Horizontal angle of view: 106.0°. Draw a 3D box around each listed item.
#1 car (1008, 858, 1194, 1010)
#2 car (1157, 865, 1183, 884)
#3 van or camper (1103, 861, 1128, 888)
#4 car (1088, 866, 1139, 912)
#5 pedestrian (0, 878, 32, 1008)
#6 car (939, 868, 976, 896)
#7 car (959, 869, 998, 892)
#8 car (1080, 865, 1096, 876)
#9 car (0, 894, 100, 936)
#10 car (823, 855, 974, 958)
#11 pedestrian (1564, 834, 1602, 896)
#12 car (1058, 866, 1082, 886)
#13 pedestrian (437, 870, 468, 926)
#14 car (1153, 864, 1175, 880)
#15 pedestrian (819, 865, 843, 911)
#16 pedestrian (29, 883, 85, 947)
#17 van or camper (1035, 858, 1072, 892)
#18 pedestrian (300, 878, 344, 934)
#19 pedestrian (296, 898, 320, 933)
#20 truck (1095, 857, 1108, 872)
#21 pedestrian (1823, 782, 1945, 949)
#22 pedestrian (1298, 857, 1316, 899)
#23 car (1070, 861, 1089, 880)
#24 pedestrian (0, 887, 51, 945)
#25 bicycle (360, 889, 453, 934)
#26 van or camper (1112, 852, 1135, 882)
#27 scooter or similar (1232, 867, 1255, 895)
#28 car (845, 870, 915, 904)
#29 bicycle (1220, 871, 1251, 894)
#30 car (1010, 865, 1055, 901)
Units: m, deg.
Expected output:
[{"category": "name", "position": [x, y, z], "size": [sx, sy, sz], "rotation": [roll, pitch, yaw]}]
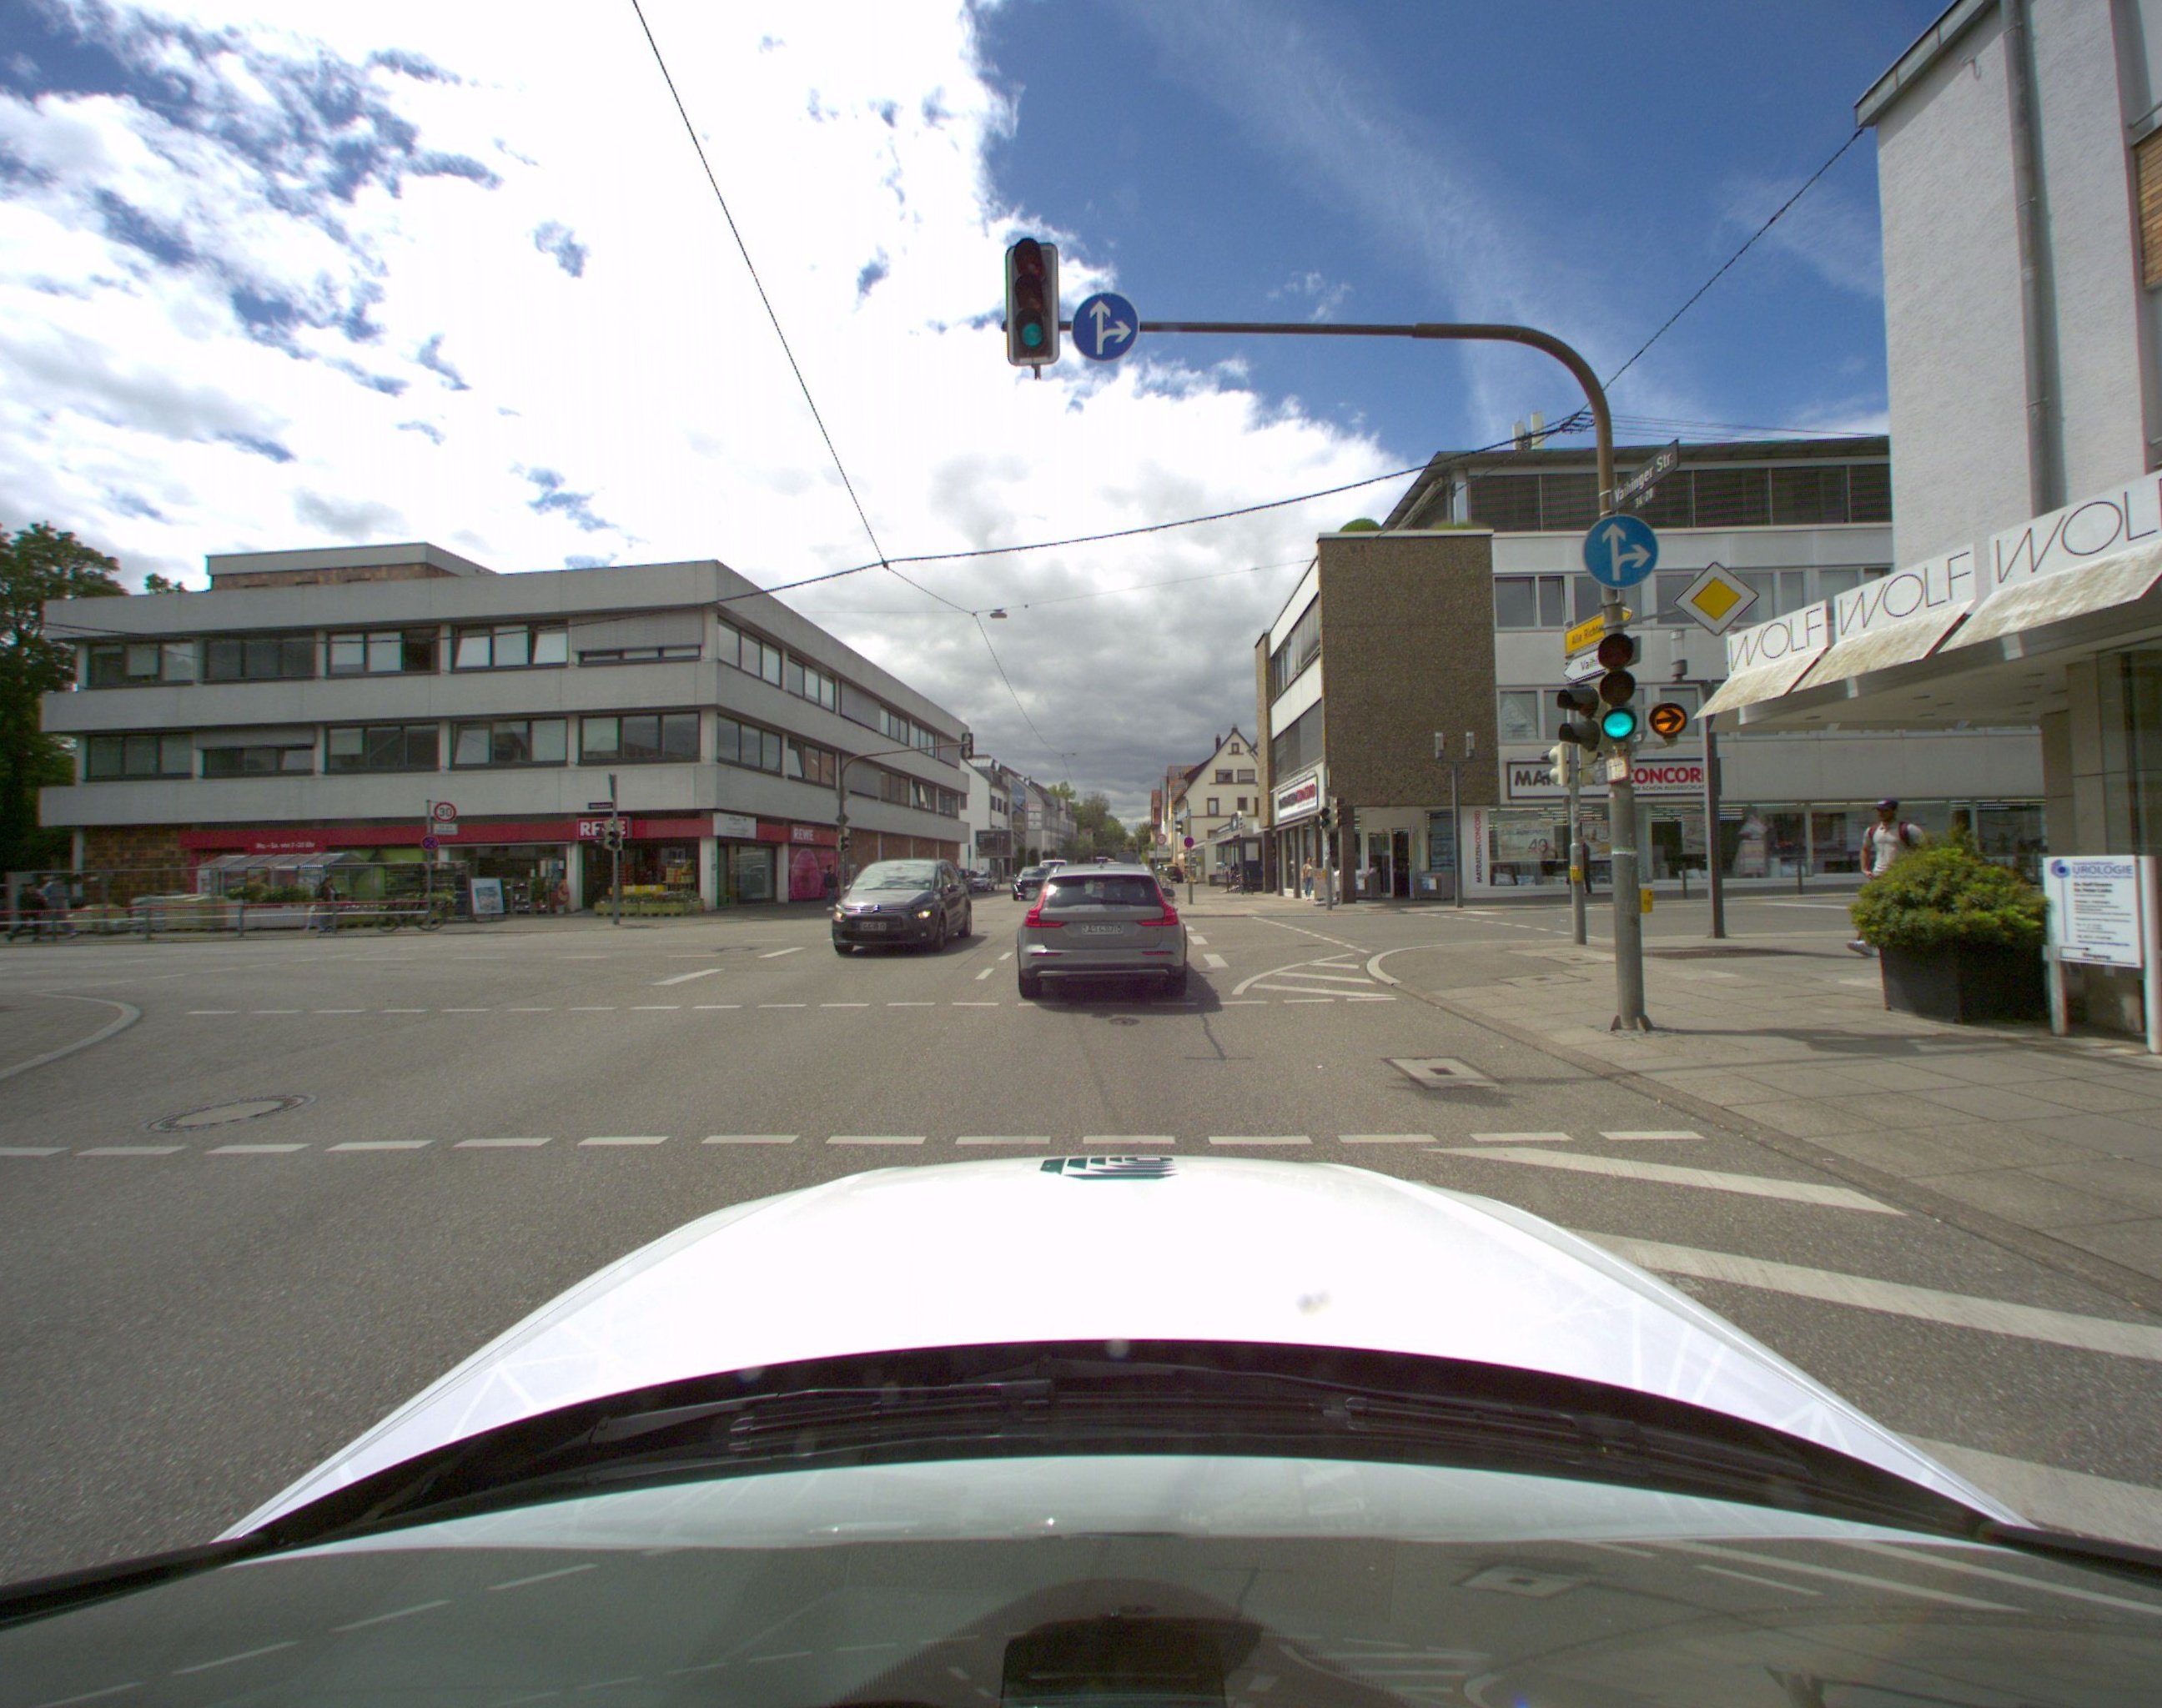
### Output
[{"category": "car", "position": [0.264, 0.811, 10.097], "size": [1.829, 1.486, 4.001], "rotation": [-1, 0, 2]}, {"category": "car", "position": [7.153, 1.644, 65.680], "size": [1.705, 1.464, 3.999], "rotation": [0, -2, 0]}, {"category": "van or camper", "position": [2.573, 1.557, 60.927], "size": [1.812, 1.835, 4.001], "rotation": [-1, -3, 2]}, {"category": "car", "position": [1.125, 1.199, 28.520], "size": [1.644, 1.482, 3.608], "rotation": [0, -1, 2]}, {"category": "pedestrian", "position": [-12.590, 1.013, 9.155], "size": [0.522, 1.485, 0.761], "rotation": [0, -3, 0]}, {"category": "car", "position": [-7.321, 1.647, 48.531], "size": [1.601, 1.543, 2.946], "rotation": [1, -1, 3]}, {"category": "car", "position": [-6.856, 1.758, 54.846], "size": [1.747, 1.426, 3.867], "rotation": [-1, -1, 5]}, {"category": "car", "position": [1.006, 2.361, 116.653], "size": [1.753, 1.426, 4.008], "rotation": [-1, -1, 7]}, {"category": "car", "position": [-37.039, 2.113, 28.039], "size": [1.766, 1.321, 3.737], "rotation": [-2, -1, 12]}, {"category": "car", "position": [-3.184, 0.844, 15.027], "size": [1.783, 1.589, 4.100], "rotation": [-2, 0, 0]}, {"category": "pedestrian", "position": [14.312, 0.319, 23.205], "size": [0.582, 1.706, 0.614], "rotation": [-3, -1, -30]}, {"category": "car", "position": [-0.848, 1.796, 66.449], "size": [1.661, 1.554, 4.218], "rotation": [-1, -1, 3]}, {"category": "pedestrian", "position": [-20.426, 1.432, 26.466], "size": [0.623, 1.776, 0.551], "rotation": [1, -3, -23]}, {"category": "car", "position": [8.052, 1.774, 79.208], "size": [1.875, 1.500, 3.974], "rotation": [0, -2, 3]}, {"category": "pedestrian", "position": [-9.176, 1.233, 29.893], "size": [0.616, 1.641, 0.661], "rotation": [-2, -1, 3]}, {"category": "pedestrian", "position": [-30.203, 1.785, 24.026], "size": [0.731, 1.836, 0.676], "rotation": [-2, -1, -6]}, {"category": "van or camper", "position": [-1.605, 1.220, 49.432], "size": [1.857, 1.898, 4.694], "rotation": [-1, 0, 2]}, {"category": "pedestrian", "position": [-22.403, 1.522, 24.049], "size": [0.726, 1.597, 0.691], "rotation": [1, -3, -25]}, {"category": "pedestrian", "position": [-22.289, 1.774, 23.483], "size": [0.364, 1.005, 0.382], "rotation": [1, -3, -24]}, {"category": "truck", "position": [4.150, 2.094, 160.343], "size": [2.266, 2.887, 7.084], "rotation": [-2, -1, 3]}, {"category": "pedestrian", "position": [9.250, 0.133, 9.394], "size": [0.615, 1.814, 0.769], "rotation": [-5, 0, -30]}, {"category": "pedestrian", "position": [7.946, 0.845, 28.643], "size": [0.500, 1.459, 0.502], "rotation": [-4, -2, 15]}, {"category": "car", "position": [-0.110, 1.689, 84.302], "size": [1.831, 1.917, 4.157], "rotation": [0, -1, 2]}, {"category": "pedestrian", "position": [-30.025, 1.745, 23.083], "size": [0.731, 1.577, 0.676], "rotation": [-2, -1, -6]}, {"category": "bicycle", "position": [-19.312, 1.627, 23.343], "size": [1.881, 1.142, 0.774], "rotation": [-3, -2, -8]}, {"category": "van or camper", "position": [4.049, 1.247, 77.629], "size": [2.114, 2.686, 4.784], "rotation": [-2, -1, 3]}, {"category": "scooter or similar", "position": [7.566, 1.251, 37.917], "size": [0.342, 1.253, 1.236], "rotation": [-3, -2, -24]}, {"category": "car", "position": [-9.058, 1.453, 37.113], "size": [1.776, 1.464, 4.093], "rotation": [0, -1, 6]}, {"category": "bicycle", "position": [7.714, 1.412, 40.709], "size": [0.555, 1.144, 2.288], "rotation": [-1, -1, -15]}, {"category": "car", "position": [-2.179, 1.293, 37.583], "size": [1.676, 1.497, 3.969], "rotation": [-1, -1, 2]}]
